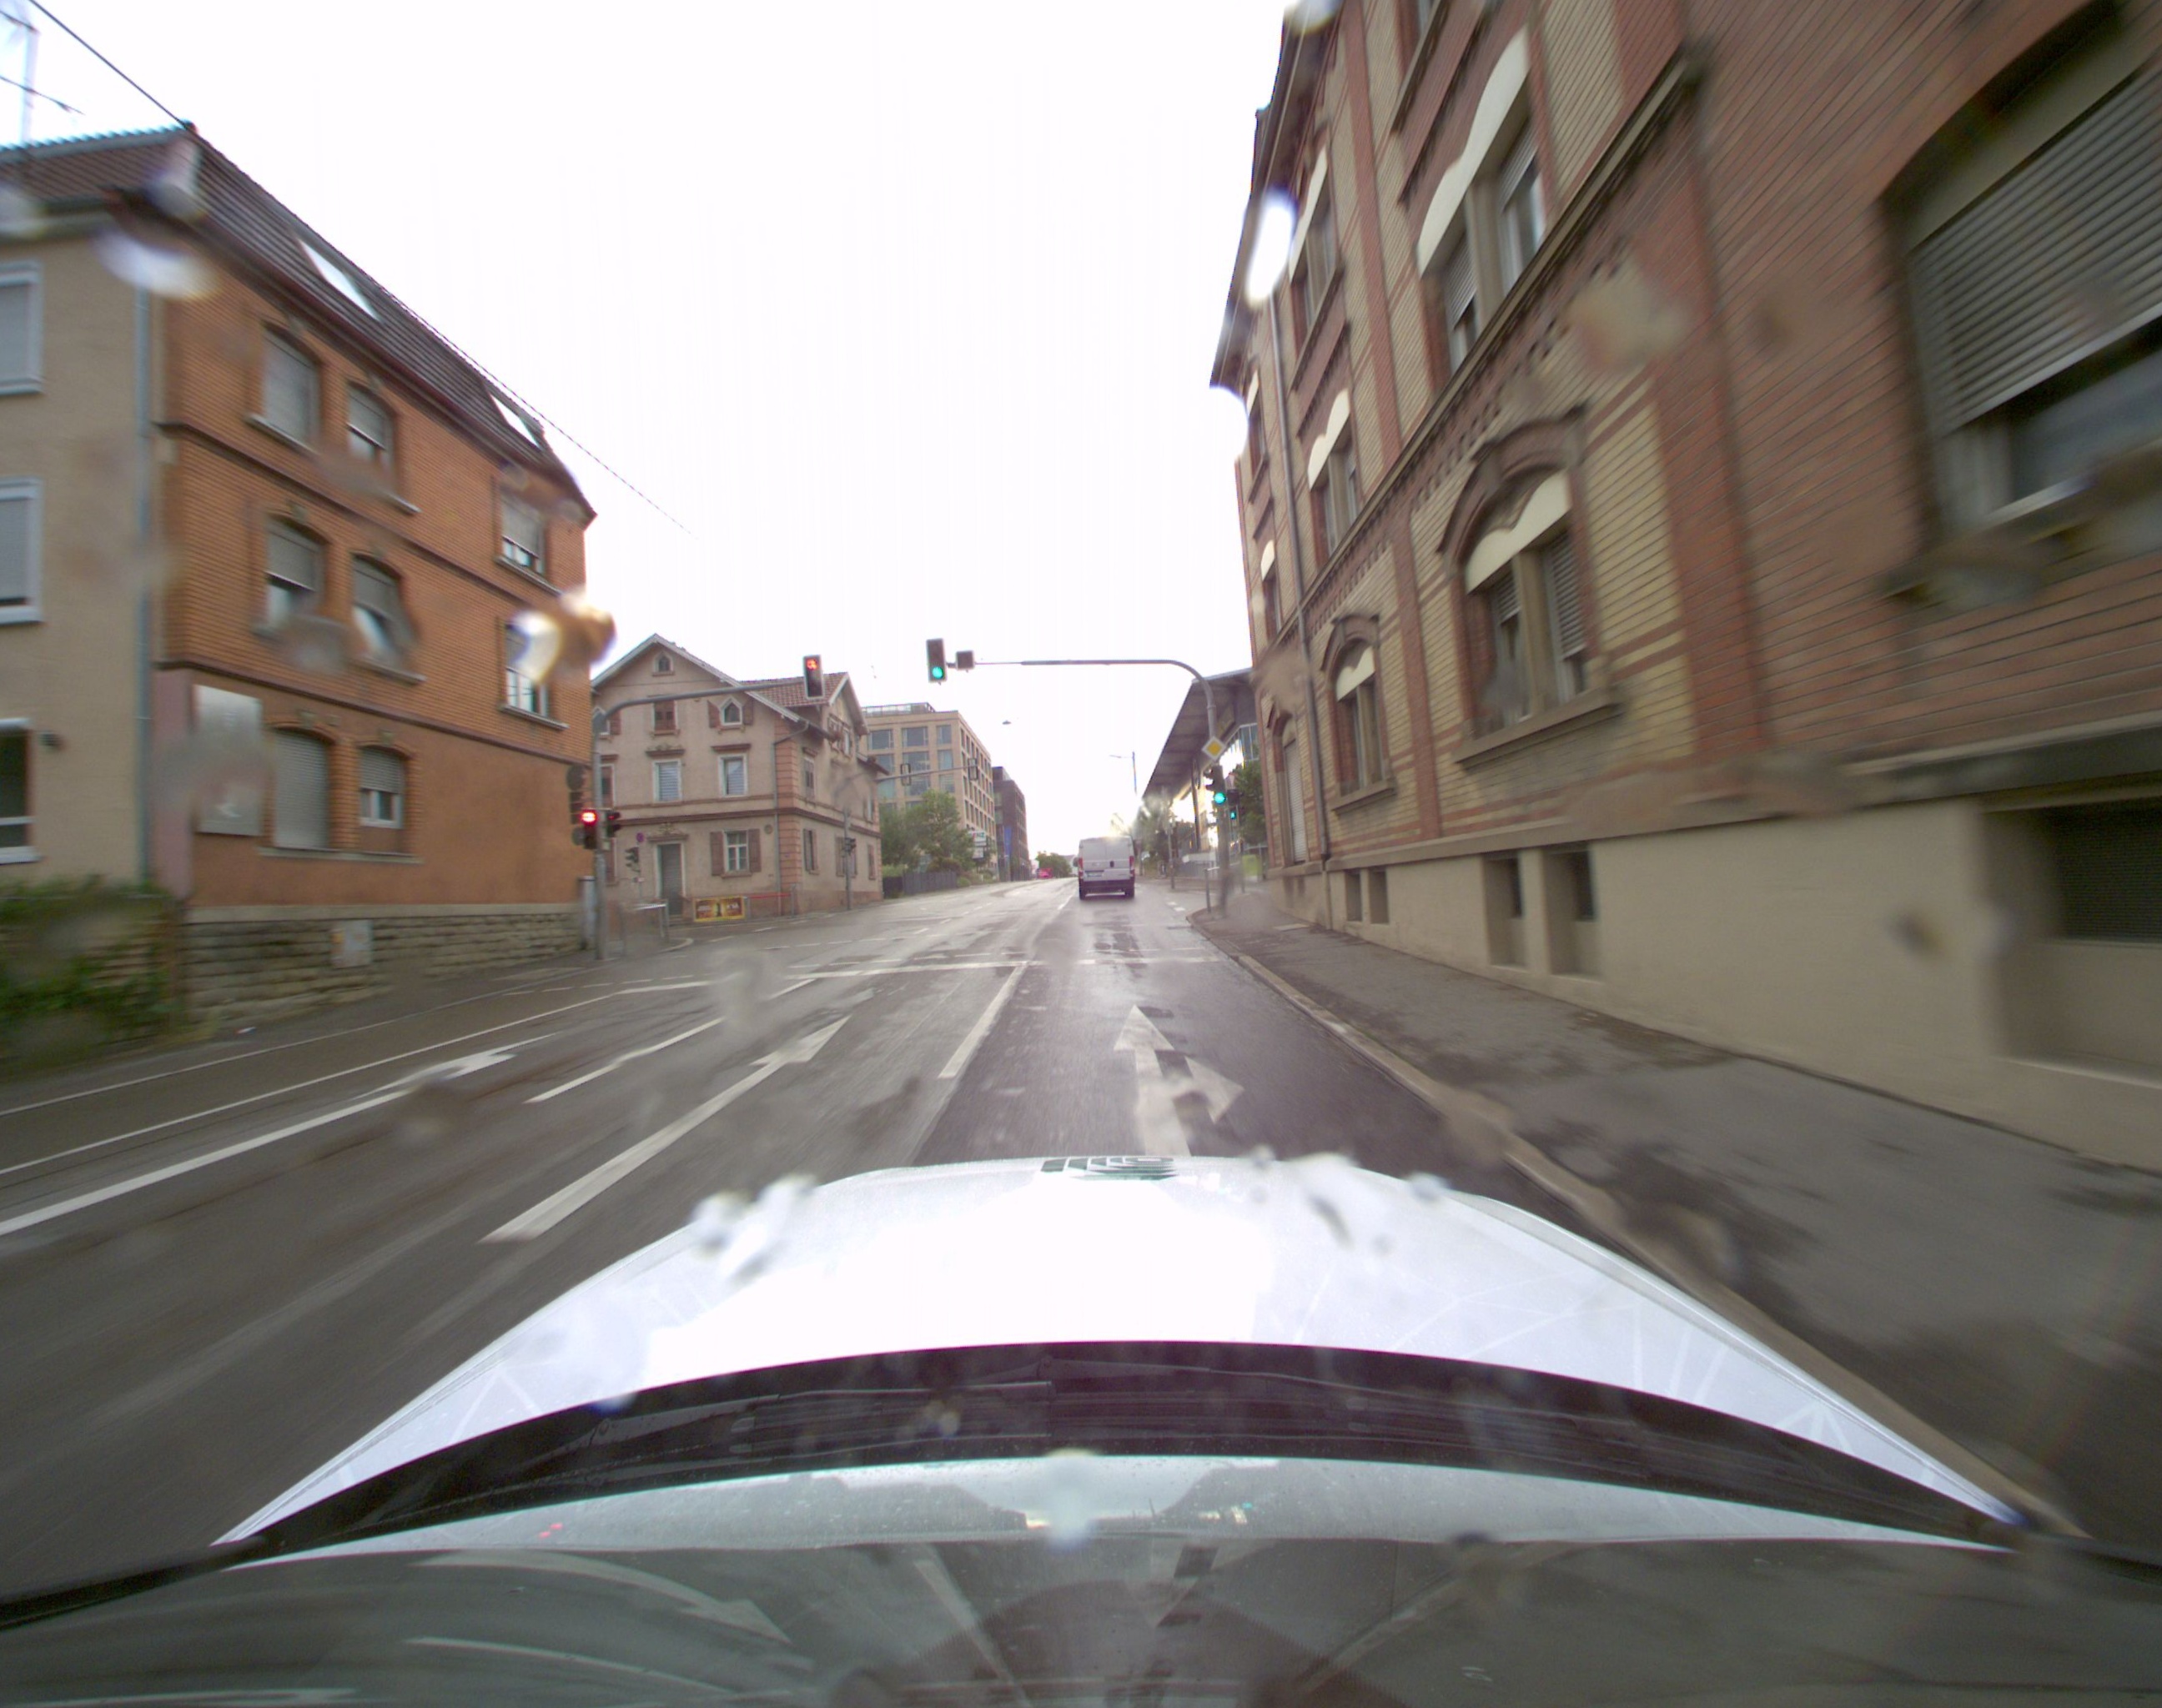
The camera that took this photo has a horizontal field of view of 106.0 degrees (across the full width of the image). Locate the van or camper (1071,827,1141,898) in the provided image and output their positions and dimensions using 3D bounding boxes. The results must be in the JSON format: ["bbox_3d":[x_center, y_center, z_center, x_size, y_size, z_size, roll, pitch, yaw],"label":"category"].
[{"bbox_3d":[0.954,0.358,31.051,2.331,2.357,5.201,-3,-1,2],"label":"van or camper"}]

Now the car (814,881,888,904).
[{"bbox_3d":[-13.916,2.307,49.465,3.979,1.163,1.605,-3,-1,-4],"label":"car"}]

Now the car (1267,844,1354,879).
[{"bbox_3d":[12.025,0.429,42.691,3.949,1.508,1.909,-5,-5,28],"label":"car"}]
